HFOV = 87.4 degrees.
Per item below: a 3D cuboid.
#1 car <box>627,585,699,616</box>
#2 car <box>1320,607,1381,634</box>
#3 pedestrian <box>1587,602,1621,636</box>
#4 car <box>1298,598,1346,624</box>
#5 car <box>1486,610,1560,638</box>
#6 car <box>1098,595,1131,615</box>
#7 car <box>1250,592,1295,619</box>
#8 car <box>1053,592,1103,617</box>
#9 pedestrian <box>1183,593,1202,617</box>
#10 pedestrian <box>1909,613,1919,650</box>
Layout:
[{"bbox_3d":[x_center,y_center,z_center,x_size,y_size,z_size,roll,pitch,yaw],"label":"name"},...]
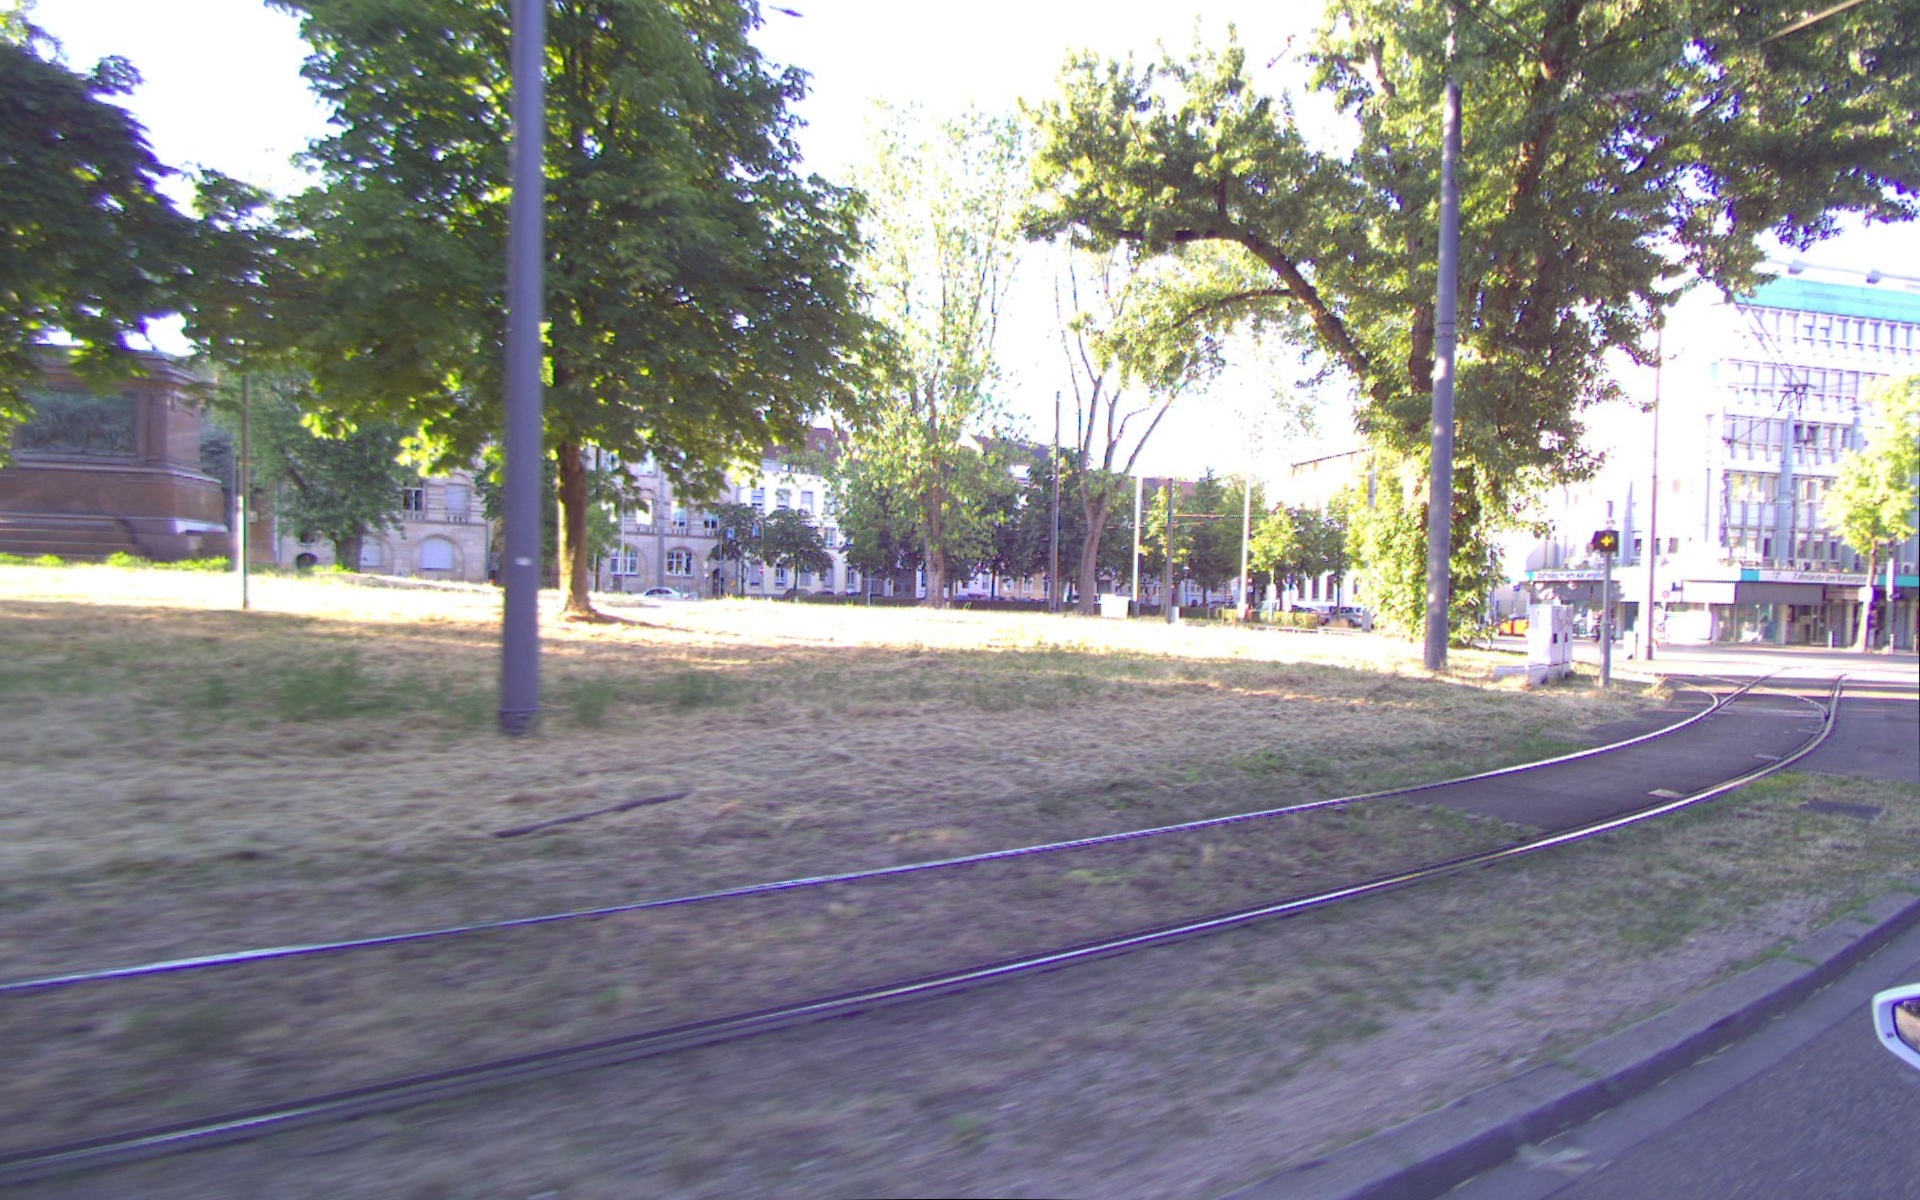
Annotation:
[{"bbox_3d":[-19.080,0.030,64.661,3.920,1.818,2.000,2,1,2],"label":"car"},{"bbox_3d":[27.648,1.418,71.188,1.968,1.706,3.985,2,0,-17],"label":"car"},{"bbox_3d":[33.933,0.995,52.941,1.139,1.725,0.908,2,0,5],"label":"pedestrian"},{"bbox_3d":[29.763,0.872,82.701,1.965,2.040,3.991,2,0,-11],"label":"car"},{"bbox_3d":[34.379,1.431,61.465,1.989,1.505,3.996,2,1,-6],"label":"car"},{"bbox_3d":[16.692,0.532,108.990,1.968,2.040,3.985,2,0,-17],"label":"car"},{"bbox_3d":[25.299,0.405,81.470,1.963,2.040,3.995,2,1,-7],"label":"car"},{"bbox_3d":[10.273,0.374,87.260,3.955,2.040,1.983,2,1,-32],"label":"car"},{"bbox_3d":[20.573,0.419,88.812,1.100,2.040,1.462,2,1,-11],"label":"pedestrian"},{"bbox_3d":[53.942,1.776,56.276,0.721,2.040,0.797,2,1,-11],"label":"pedestrian"}]
